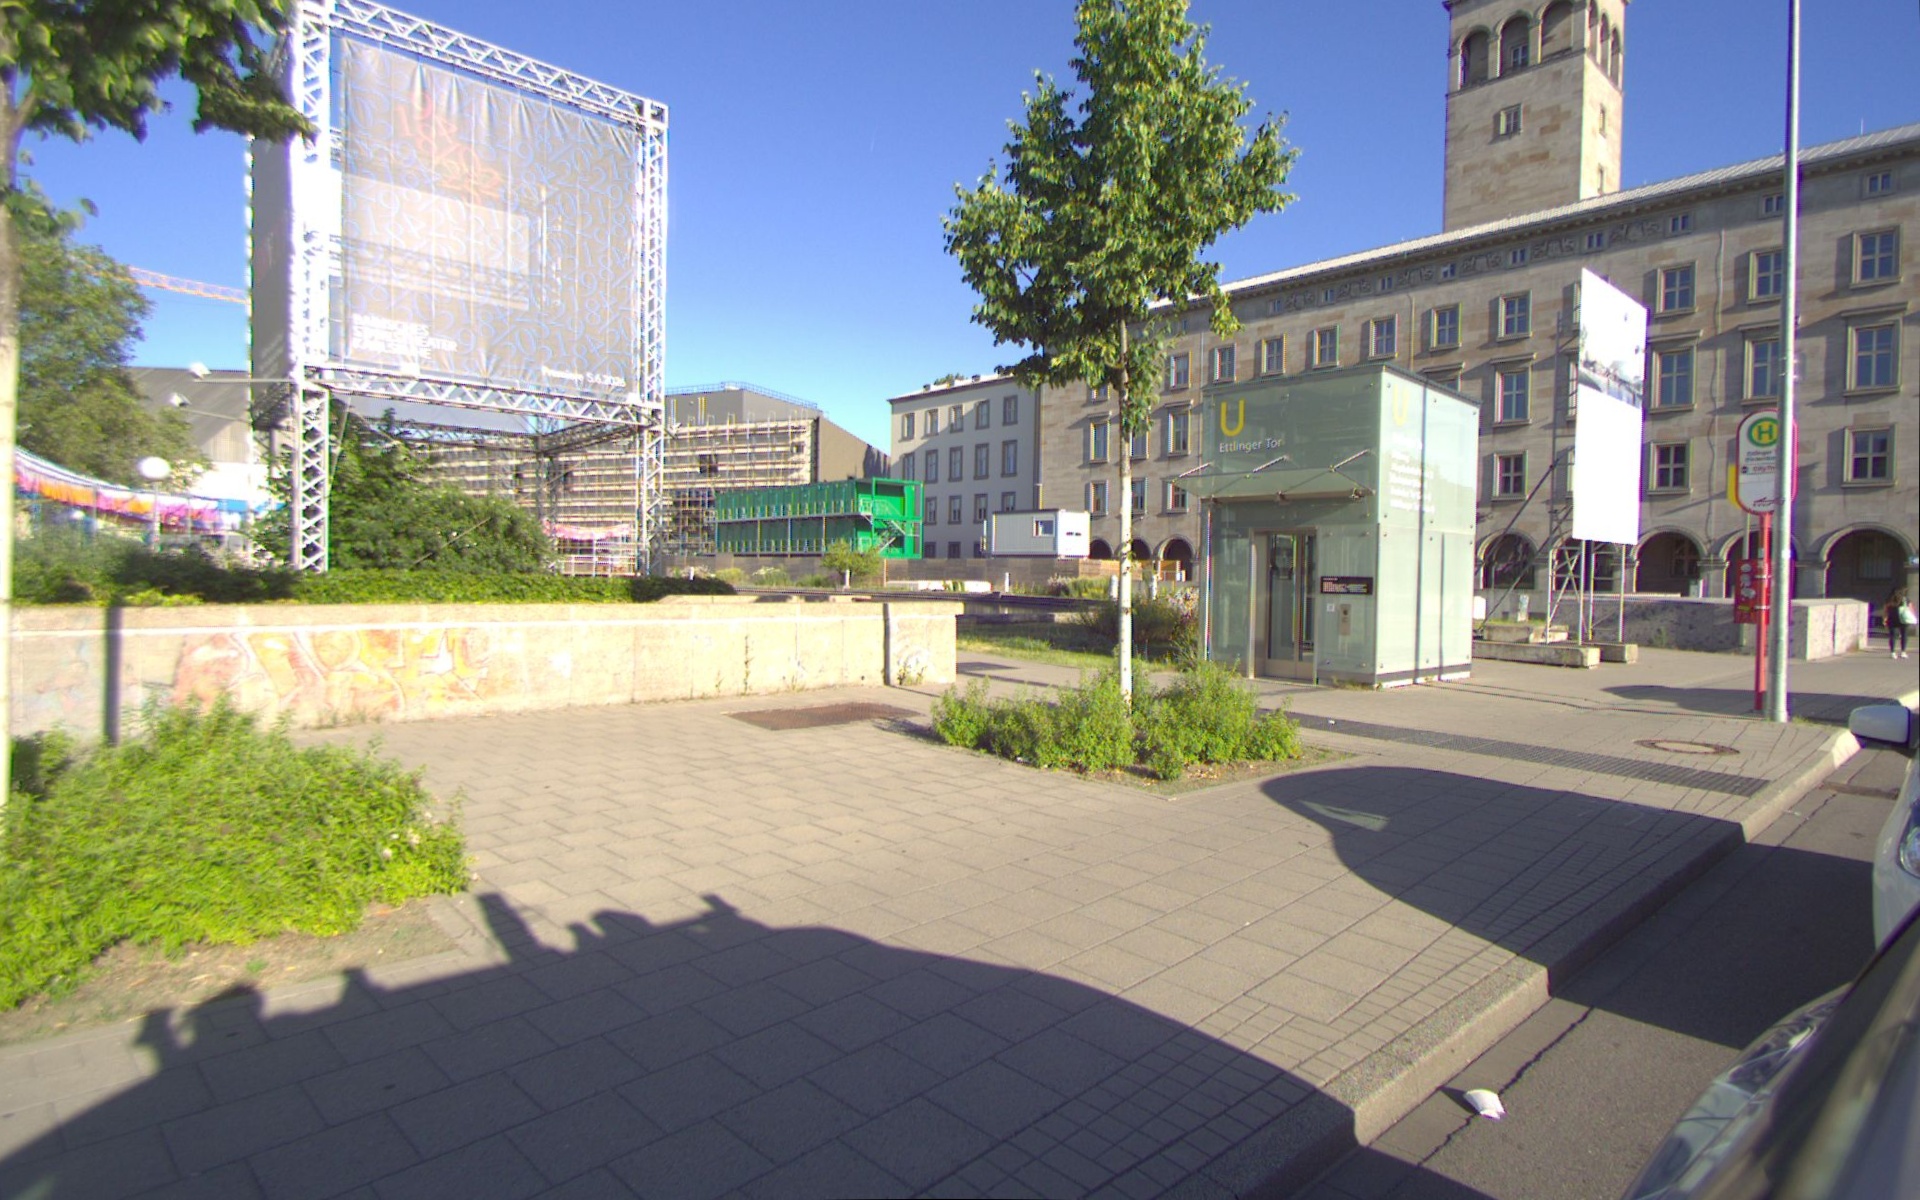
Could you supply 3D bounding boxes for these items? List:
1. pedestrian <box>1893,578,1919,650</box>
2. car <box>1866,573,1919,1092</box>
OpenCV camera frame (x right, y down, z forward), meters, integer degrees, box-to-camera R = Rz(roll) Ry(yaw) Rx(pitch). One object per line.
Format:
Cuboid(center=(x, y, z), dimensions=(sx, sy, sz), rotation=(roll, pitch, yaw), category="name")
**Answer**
Cuboid(center=(23.014, 0.330, 24.486), dimensions=(0.543, 1.723, 0.551), rotation=(0, 1, -42), category="pedestrian")
Cuboid(center=(4.641, 0.677, 3.666), dimensions=(3.930, 1.473, 1.518), rotation=(0, 2, -41), category="car")
